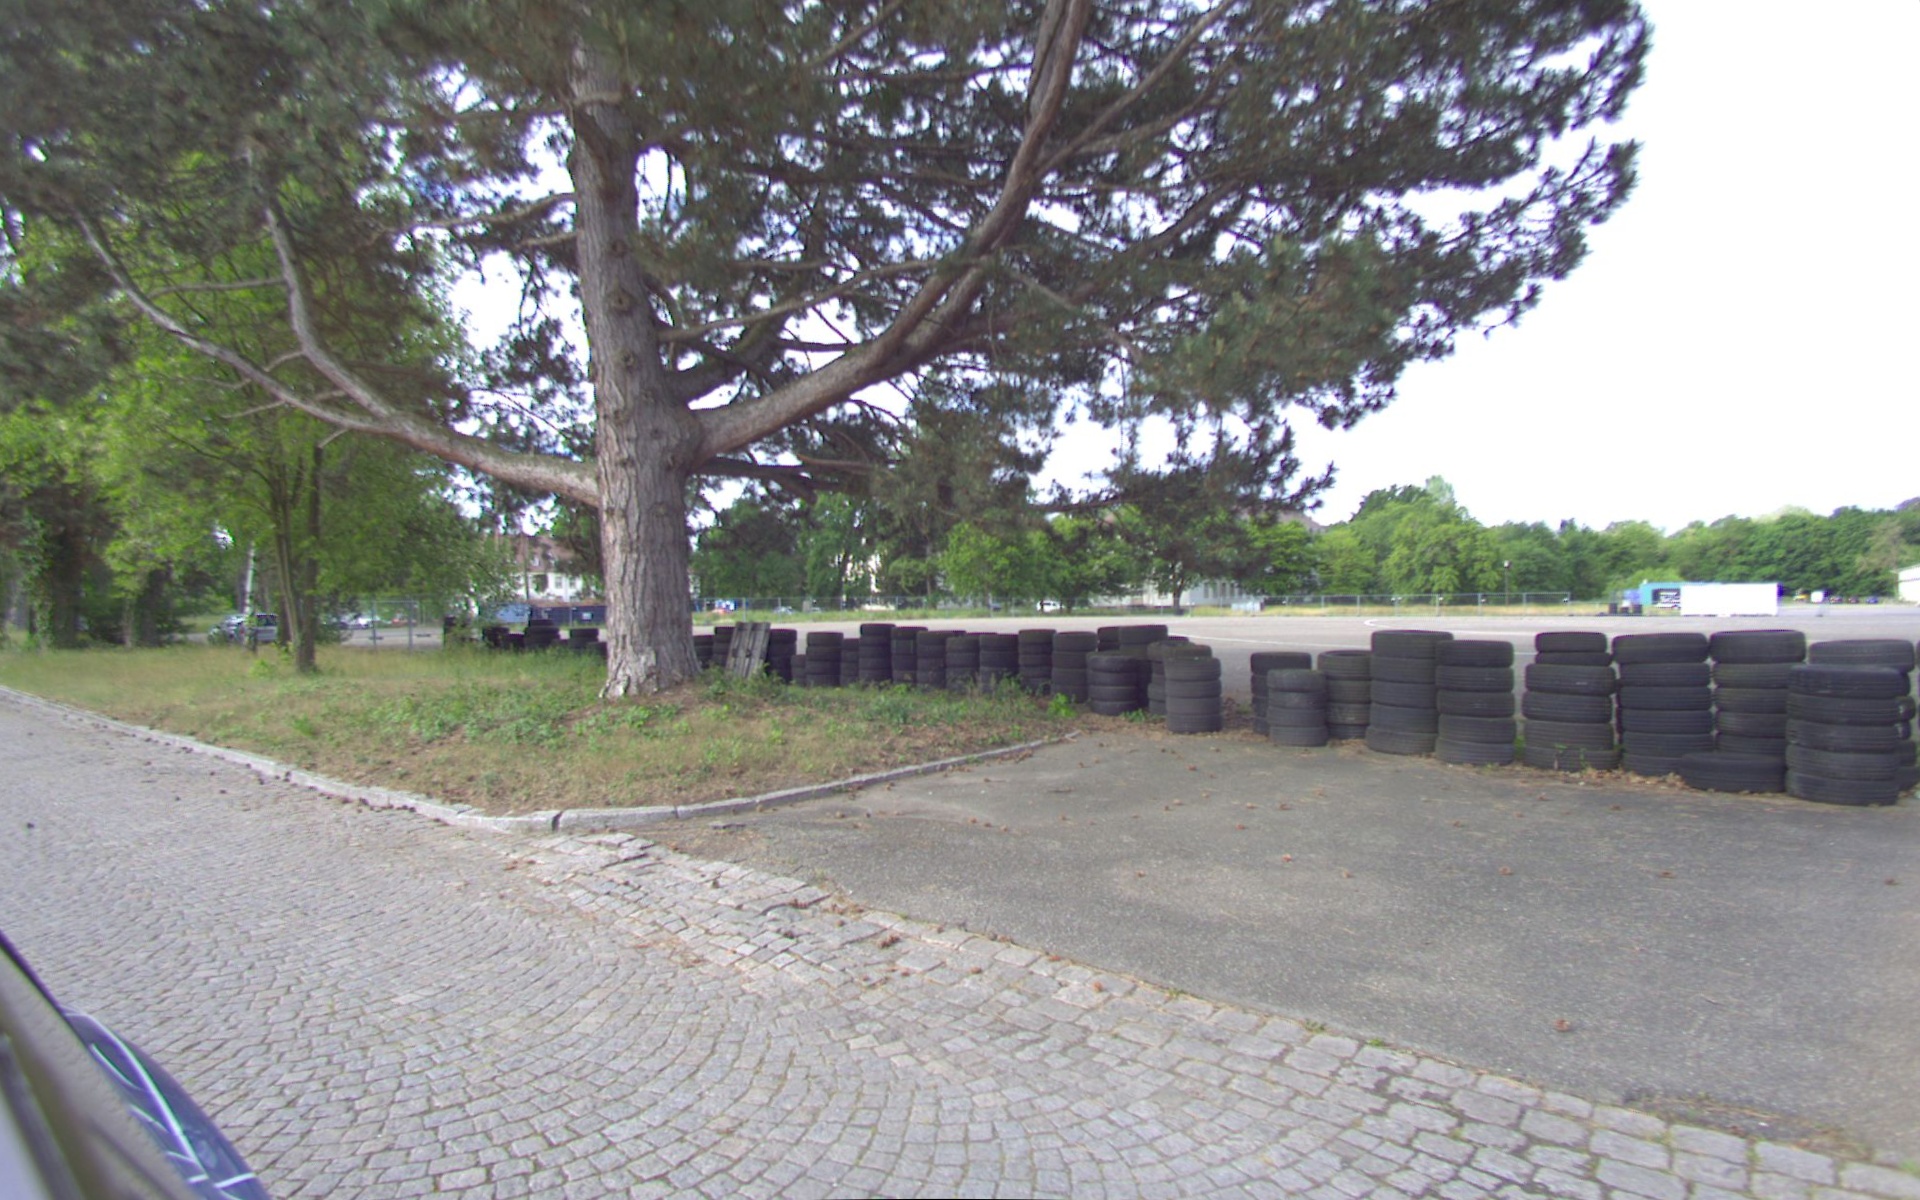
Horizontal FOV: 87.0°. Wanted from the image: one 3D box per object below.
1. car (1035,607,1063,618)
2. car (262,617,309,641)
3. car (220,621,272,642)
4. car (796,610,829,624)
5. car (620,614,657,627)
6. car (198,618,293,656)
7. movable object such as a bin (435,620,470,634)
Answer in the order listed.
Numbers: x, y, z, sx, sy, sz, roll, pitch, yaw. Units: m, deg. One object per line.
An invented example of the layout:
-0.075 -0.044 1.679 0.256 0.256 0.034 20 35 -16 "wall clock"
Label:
14.357 2.000 163.764 4.287 1.735 1.806 -1 2 41 "car"
-49.183 2.114 73.761 3.892 1.531 1.654 -4 -2 37 "car"
-50.701 2.231 71.803 4.313 1.436 1.808 -1 -1 37 "car"
-18.806 2.156 128.847 1.802 1.735 4.587 0 -1 -42 "car"
-34.771 2.199 109.515 4.398 1.361 1.689 -1 -1 39 "car"
-28.269 1.480 40.014 4.414 1.427 1.807 -2 -3 37 "car"
-35.656 1.904 71.081 1.952 0.976 1.432 -1 -1 32 "movable object such as a bin"
